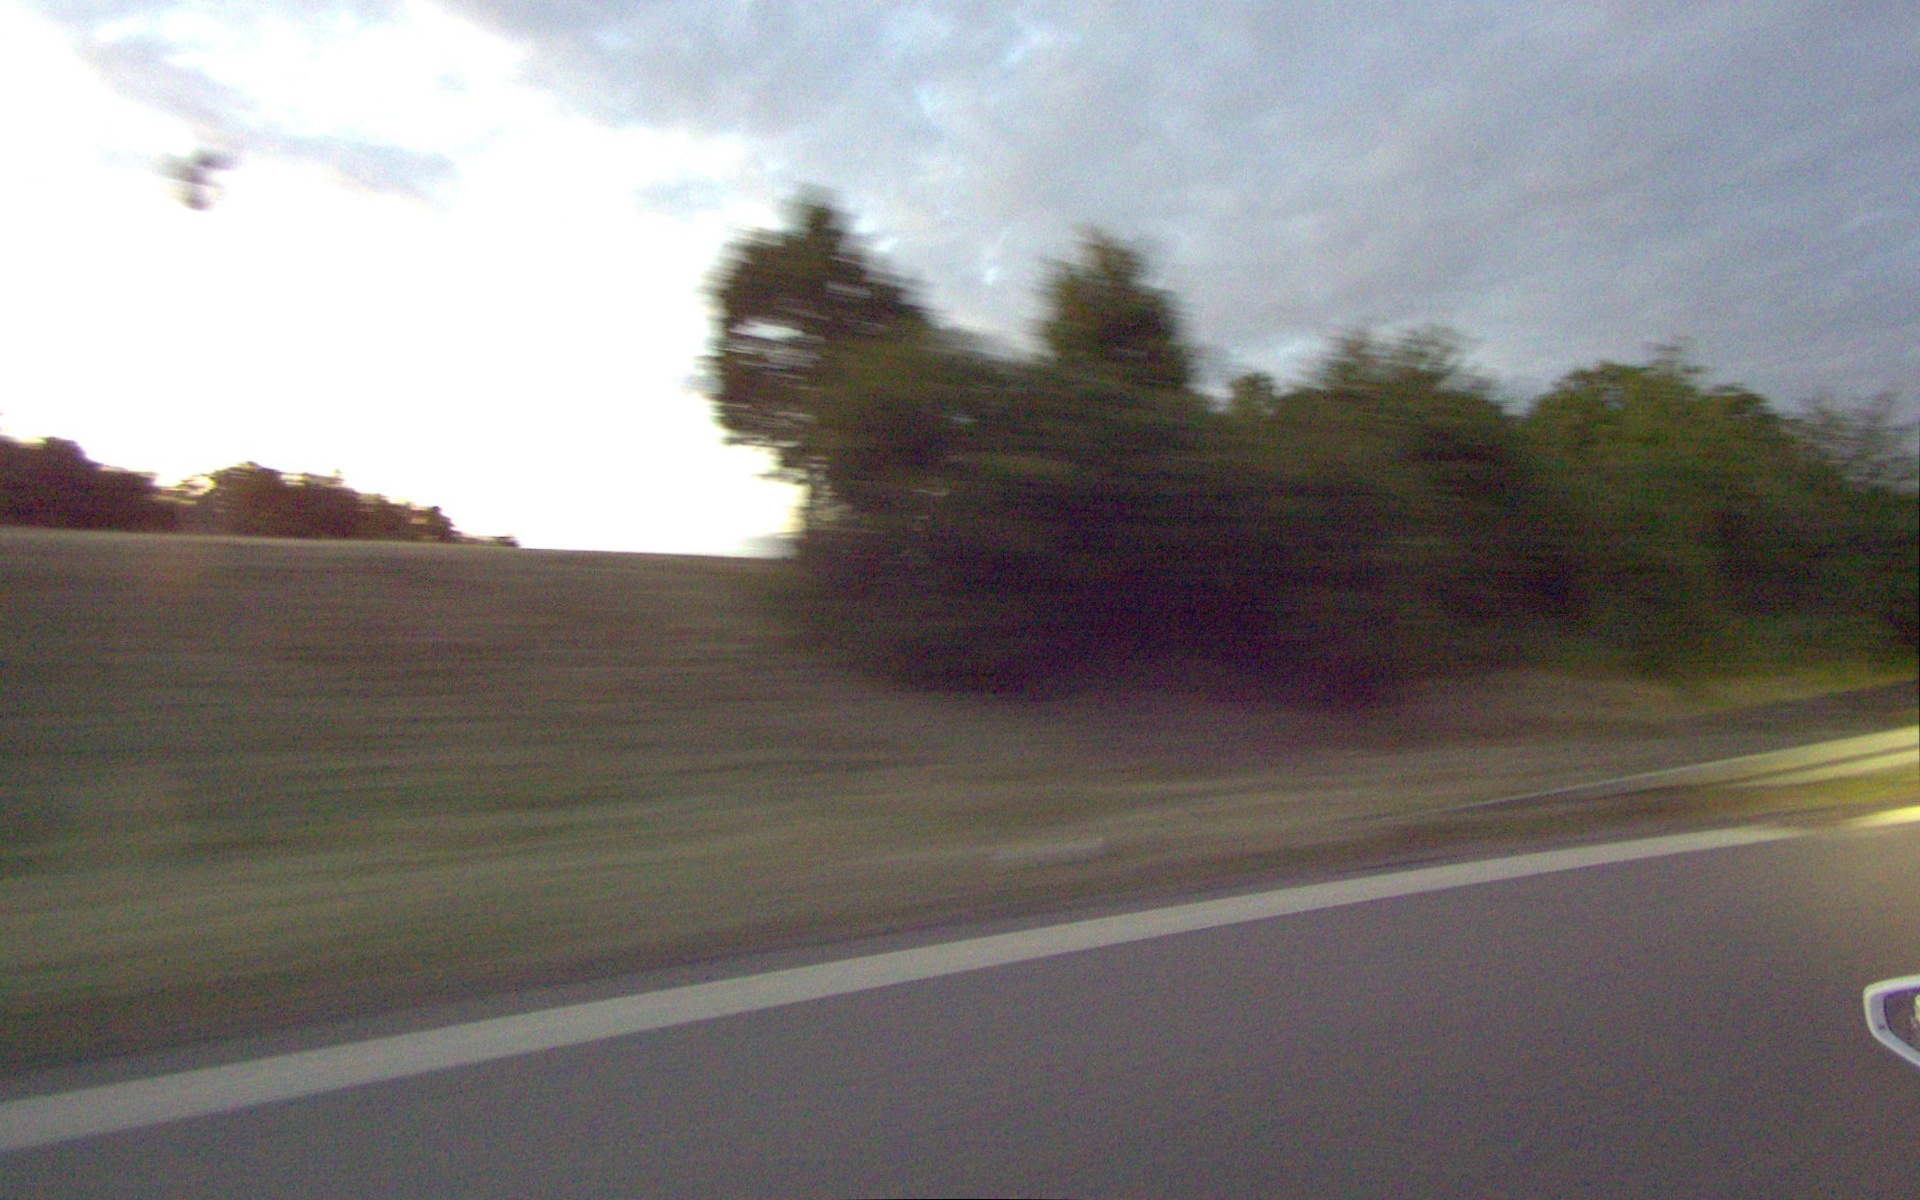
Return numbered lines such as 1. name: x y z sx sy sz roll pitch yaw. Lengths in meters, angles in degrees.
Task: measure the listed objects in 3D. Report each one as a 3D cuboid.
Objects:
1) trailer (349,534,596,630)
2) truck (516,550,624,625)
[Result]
1. trailer: -23.584 -0.714 50.338 2.727 3.967 14.828 -3 -1 10
2. truck: -22.248 -0.656 57.617 2.732 3.953 6.158 -3 -1 11
